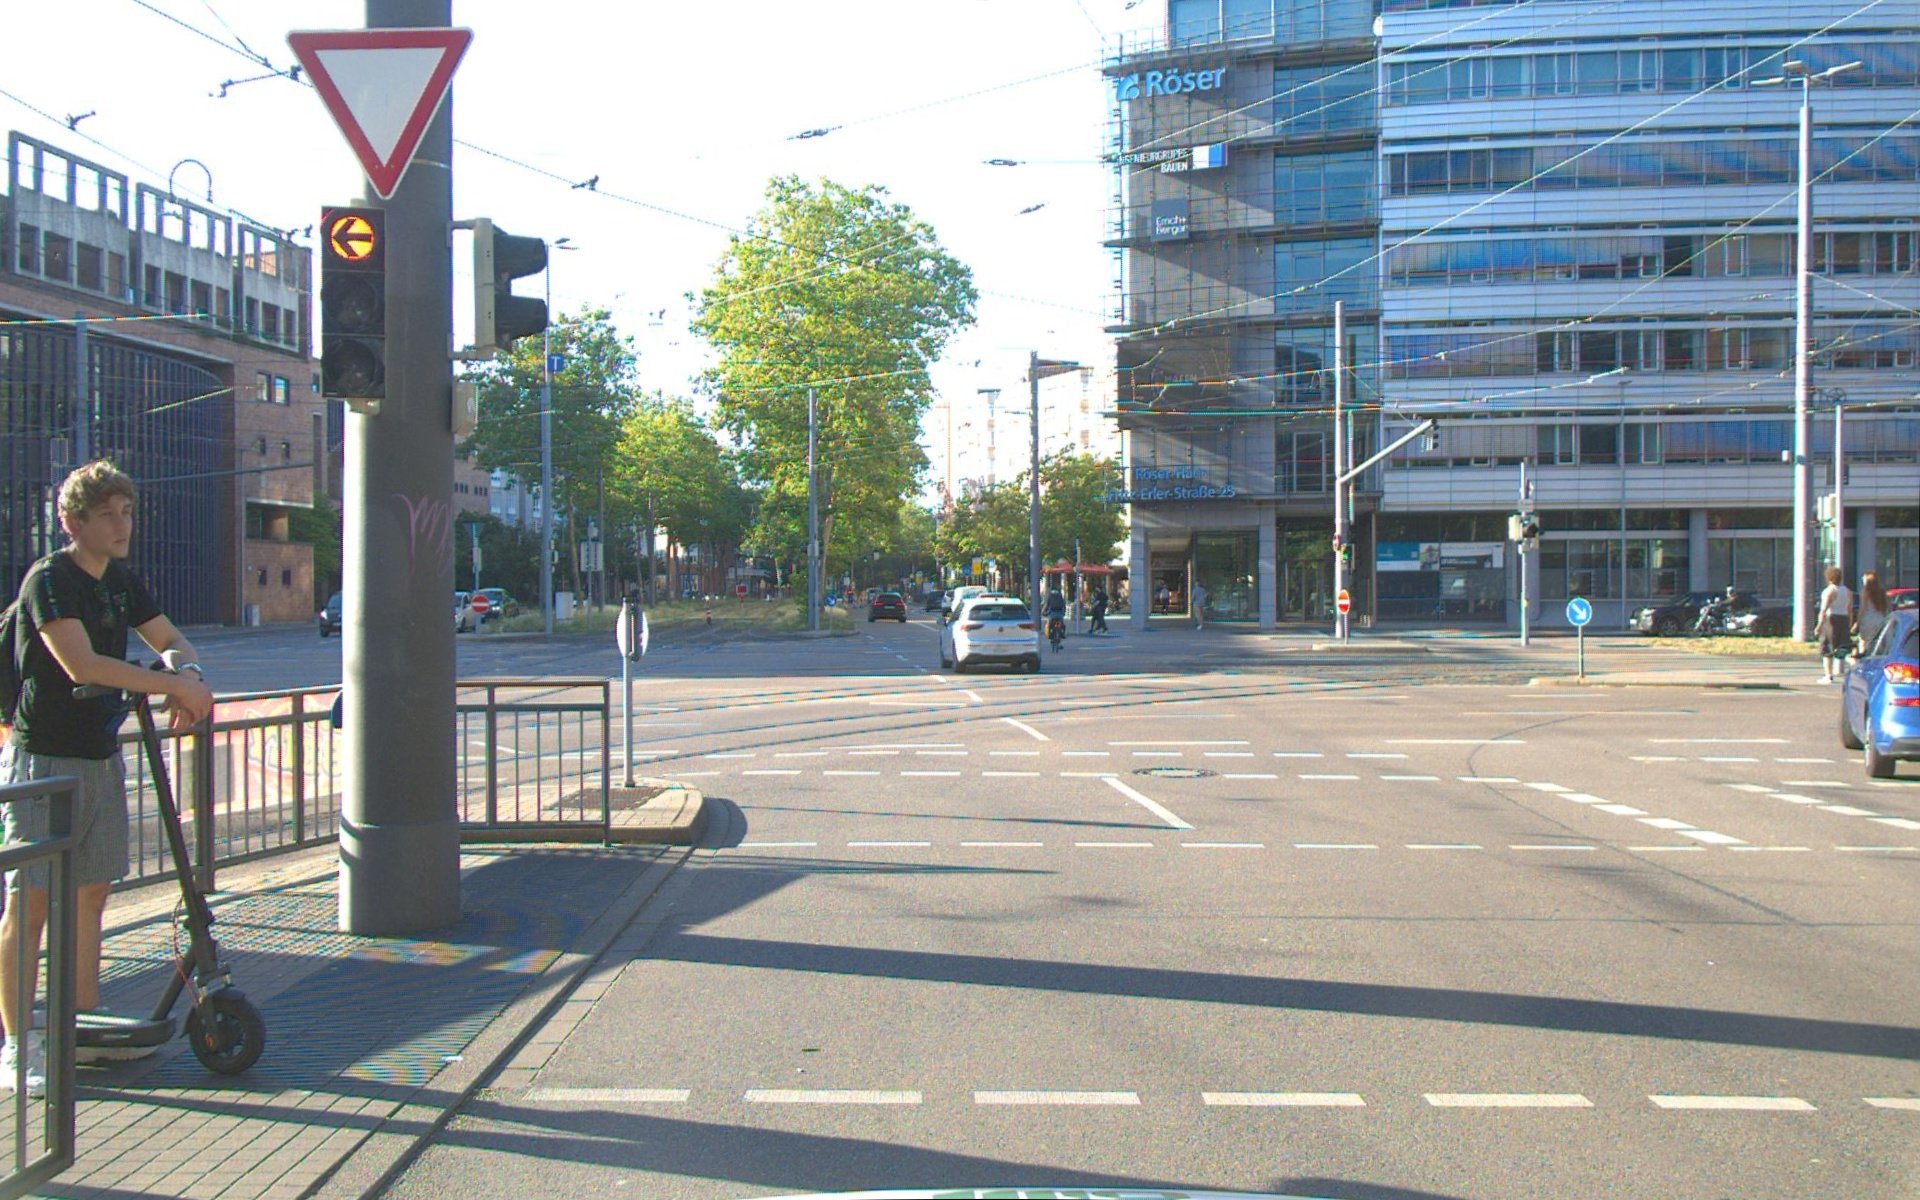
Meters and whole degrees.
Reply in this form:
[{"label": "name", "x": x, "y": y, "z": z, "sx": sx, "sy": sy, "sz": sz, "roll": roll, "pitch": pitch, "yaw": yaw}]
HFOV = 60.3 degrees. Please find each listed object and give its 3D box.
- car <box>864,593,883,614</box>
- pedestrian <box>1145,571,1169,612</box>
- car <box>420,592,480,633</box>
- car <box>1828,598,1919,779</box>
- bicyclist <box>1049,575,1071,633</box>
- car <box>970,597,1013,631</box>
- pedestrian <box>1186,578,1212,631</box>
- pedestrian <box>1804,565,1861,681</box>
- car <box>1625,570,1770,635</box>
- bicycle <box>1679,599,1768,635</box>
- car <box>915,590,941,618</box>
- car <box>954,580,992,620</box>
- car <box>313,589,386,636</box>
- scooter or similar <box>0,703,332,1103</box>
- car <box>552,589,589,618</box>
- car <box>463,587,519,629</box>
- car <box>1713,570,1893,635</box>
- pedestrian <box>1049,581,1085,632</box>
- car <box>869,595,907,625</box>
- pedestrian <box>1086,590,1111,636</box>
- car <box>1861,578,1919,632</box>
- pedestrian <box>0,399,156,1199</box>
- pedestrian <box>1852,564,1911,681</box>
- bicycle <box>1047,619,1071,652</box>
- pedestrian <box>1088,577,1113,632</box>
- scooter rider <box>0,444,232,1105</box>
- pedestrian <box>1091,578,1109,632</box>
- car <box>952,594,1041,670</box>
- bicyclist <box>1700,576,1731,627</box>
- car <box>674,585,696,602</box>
[{"label": "car", "x": -10.445, "y": 0.395, "z": 199.536, "sx": 1.952, "sy": 2.049, "sz": 3.998, "roll": 1, "pitch": -7, "yaw": 0}, {"label": "pedestrian", "x": 10.886, "y": -0.486, "z": 91.453, "sx": 1.285, "sy": 2.228, "sz": 1.171, "roll": 1, "pitch": -1, "yaw": 5}, {"label": "car", "x": -20.617, "y": 0.479, "z": 66.962, "sx": 1.591, "sy": 1.604, "sz": 3.994, "roll": -1, "pitch": 0, "yaw": -7}, {"label": "car", "x": 9.257, "y": 0.731, "z": 15.324, "sx": 1.712, "sy": 1.485, "sz": 4.212, "roll": 1, "pitch": 0, "yaw": 22}, {"label": "bicyclist", "x": 2.585, "y": 0.092, "z": 42.796, "sx": 0.477, "sy": 1.464, "sz": 0.615, "roll": 2, "pitch": 1, "yaw": -1}, {"label": "car", "x": 1.544, "y": 0.689, "z": 82.742, "sx": 1.988, "sy": 1.624, "sz": 3.999, "roll": 1, "pitch": 0, "yaw": -1}, {"label": "pedestrian", "x": 9.313, "y": 0.183, "z": 64.527, "sx": 0.852, "sy": 2.049, "sz": 0.793, "roll": 1, "pitch": -2, "yaw": -1}, {"label": "pedestrian", "x": 13.687, "y": 0.352, "z": 25.970, "sx": 0.663, "sy": 1.789, "sz": 0.742, "roll": -1, "pitch": 0, "yaw": 19}, {"label": "car", "x": 24.296, "y": 0.084, "z": 54.582, "sx": 3.906, "sy": 2.049, "sz": 2.000, "roll": 1, "pitch": 0, "yaw": -1}, {"label": "bicycle", "x": 22.988, "y": 0.504, "z": 49.828, "sx": 2.359, "sy": 1.040, "sz": 0.637, "roll": -1, "pitch": 0, "yaw": 4}, {"label": "car", "x": -2.445, "y": 0.330, "z": 126.684, "sx": 1.953, "sy": 2.049, "sz": 3.999, "roll": 1, "pitch": 0, "yaw": -1}, {"label": "car", "x": 0.685, "y": 0.006, "z": 89.630, "sx": 1.953, "sy": 2.049, "sz": 3.999, "roll": 1, "pitch": 0, "yaw": -1}, {"label": "car", "x": -24.202, "y": 0.473, "z": 65.686, "sx": 1.832, "sy": 1.793, "sz": 3.993, "roll": 1, "pitch": 0, "yaw": -8}, {"label": "scooter or similar", "x": -2.658, "y": 0.895, "z": 5.089, "sx": 1.177, "sy": 1.100, "sz": 0.648, "roll": -1, "pitch": 0, "yaw": 3}, {"label": "car", "x": -23.330, "y": 0.209, "z": 99.126, "sx": 1.644, "sy": 1.635, "sz": 3.994, "roll": 1, "pitch": 0, "yaw": -7}, {"label": "car", "x": -21.108, "y": 0.329, "z": 74.570, "sx": 1.787, "sy": 1.821, "sz": 3.994, "roll": -1, "pitch": 0, "yaw": -7}, {"label": "car", "x": 23.997, "y": 0.072, "z": 47.211, "sx": 4.165, "sy": 1.753, "sz": 1.885, "roll": -1, "pitch": 0, "yaw": 2}, {"label": "pedestrian", "x": 4.205, "y": 0.256, "z": 65.146, "sx": 1.315, "sy": 1.984, "sz": 1.011, "roll": 0, "pitch": 0, "yaw": -1}, {"label": "car", "x": -3.581, "y": 0.480, "z": 81.429, "sx": 1.729, "sy": 1.429, "sz": 4.292, "roll": 0, "pitch": 0, "yaw": -5}, {"label": "pedestrian", "x": 5.352, "y": 0.499, "z": 63.927, "sx": 0.852, "sy": 1.737, "sz": 0.793, "roll": 1, "pitch": -1, "yaw": -1}, {"label": "car", "x": 29.442, "y": 0.178, "z": 49.526, "sx": 3.903, "sy": 1.579, "sz": 1.798, "roll": 1, "pitch": 0, "yaw": 4}, {"label": "pedestrian", "x": -2.789, "y": 0.495, "z": 4.084, "sx": 1.143, "sy": 1.917, "sz": 0.854, "roll": -1, "pitch": 0, "yaw": 4}, {"label": "pedestrian", "x": 14.347, "y": 0.348, "z": 25.764, "sx": 0.669, "sy": 1.789, "sz": 0.742, "roll": -1, "pitch": 0, "yaw": 19}, {"label": "bicycle", "x": 2.554, "y": 0.912, "z": 42.777, "sx": 0.481, "sy": 0.802, "sz": 1.861, "roll": 1, "pitch": 1, "yaw": -1}, {"label": "pedestrian", "x": 5.340, "y": 0.181, "z": 62.974, "sx": 0.832, "sy": 2.049, "sz": 0.707, "roll": 1, "pitch": -1, "yaw": -2}, {"label": "scooter rider", "x": -2.683, "y": 0.505, "z": 5.085, "sx": 0.554, "sy": 1.885, "sz": 0.680, "roll": -1, "pitch": -2, "yaw": 4}, {"label": "pedestrian", "x": 5.318, "y": 0.184, "z": 62.912, "sx": 0.574, "sy": 2.049, "sz": 0.620, "roll": 1, "pitch": -1, "yaw": 0}, {"label": "car", "x": 0.746, "y": 0.618, "z": 33.897, "sx": 1.712, "sy": 1.443, "sz": 4.001, "roll": 0, "pitch": 0, "yaw": 1}, {"label": "bicyclist", "x": 22.760, "y": 0.047, "z": 49.827, "sx": 0.649, "sy": 1.529, "sz": 0.613, "roll": -1, "pitch": 0, "yaw": 4}, {"label": "car", "x": -33.629, "y": -0.849, "z": 202.097, "sx": 1.837, "sy": 2.049, "sz": 4.472, "roll": -1, "pitch": 0, "yaw": 2}]
